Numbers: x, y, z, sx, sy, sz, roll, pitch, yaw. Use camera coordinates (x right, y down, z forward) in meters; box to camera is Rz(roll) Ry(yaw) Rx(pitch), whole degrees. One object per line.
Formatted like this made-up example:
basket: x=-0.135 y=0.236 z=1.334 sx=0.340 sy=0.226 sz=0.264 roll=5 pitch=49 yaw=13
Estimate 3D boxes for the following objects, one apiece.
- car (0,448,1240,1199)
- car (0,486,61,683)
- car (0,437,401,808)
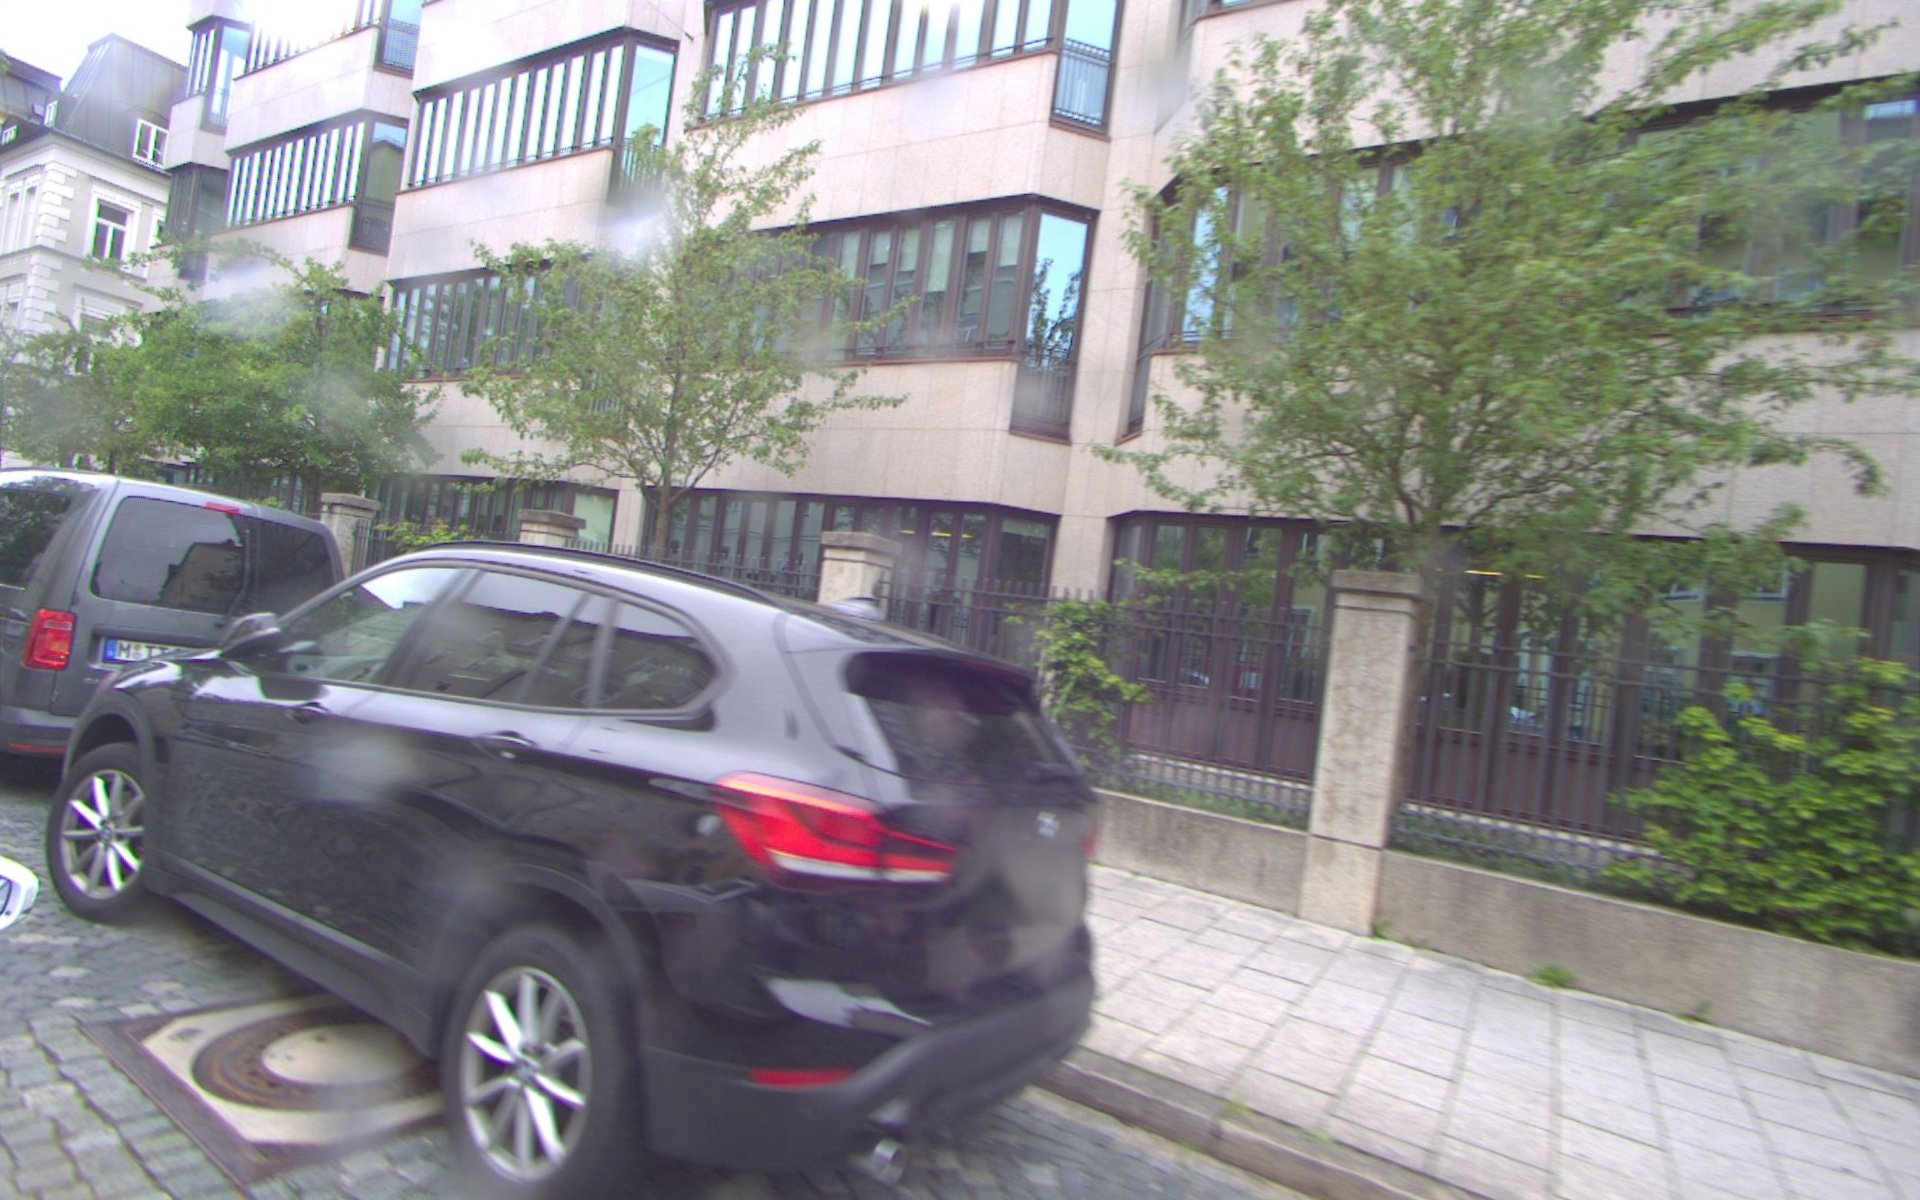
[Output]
car: x=-1.645 y=0.571 z=3.820 sx=4.733 sy=1.719 sz=1.867 roll=6 pitch=-5 yaw=32
car: x=-11.011 y=-0.478 z=9.785 sx=4.581 sy=1.751 sz=1.881 roll=7 pitch=-6 yaw=31
car: x=-6.079 y=0.043 z=6.774 sx=4.433 sy=1.813 sz=1.796 roll=7 pitch=-6 yaw=30
